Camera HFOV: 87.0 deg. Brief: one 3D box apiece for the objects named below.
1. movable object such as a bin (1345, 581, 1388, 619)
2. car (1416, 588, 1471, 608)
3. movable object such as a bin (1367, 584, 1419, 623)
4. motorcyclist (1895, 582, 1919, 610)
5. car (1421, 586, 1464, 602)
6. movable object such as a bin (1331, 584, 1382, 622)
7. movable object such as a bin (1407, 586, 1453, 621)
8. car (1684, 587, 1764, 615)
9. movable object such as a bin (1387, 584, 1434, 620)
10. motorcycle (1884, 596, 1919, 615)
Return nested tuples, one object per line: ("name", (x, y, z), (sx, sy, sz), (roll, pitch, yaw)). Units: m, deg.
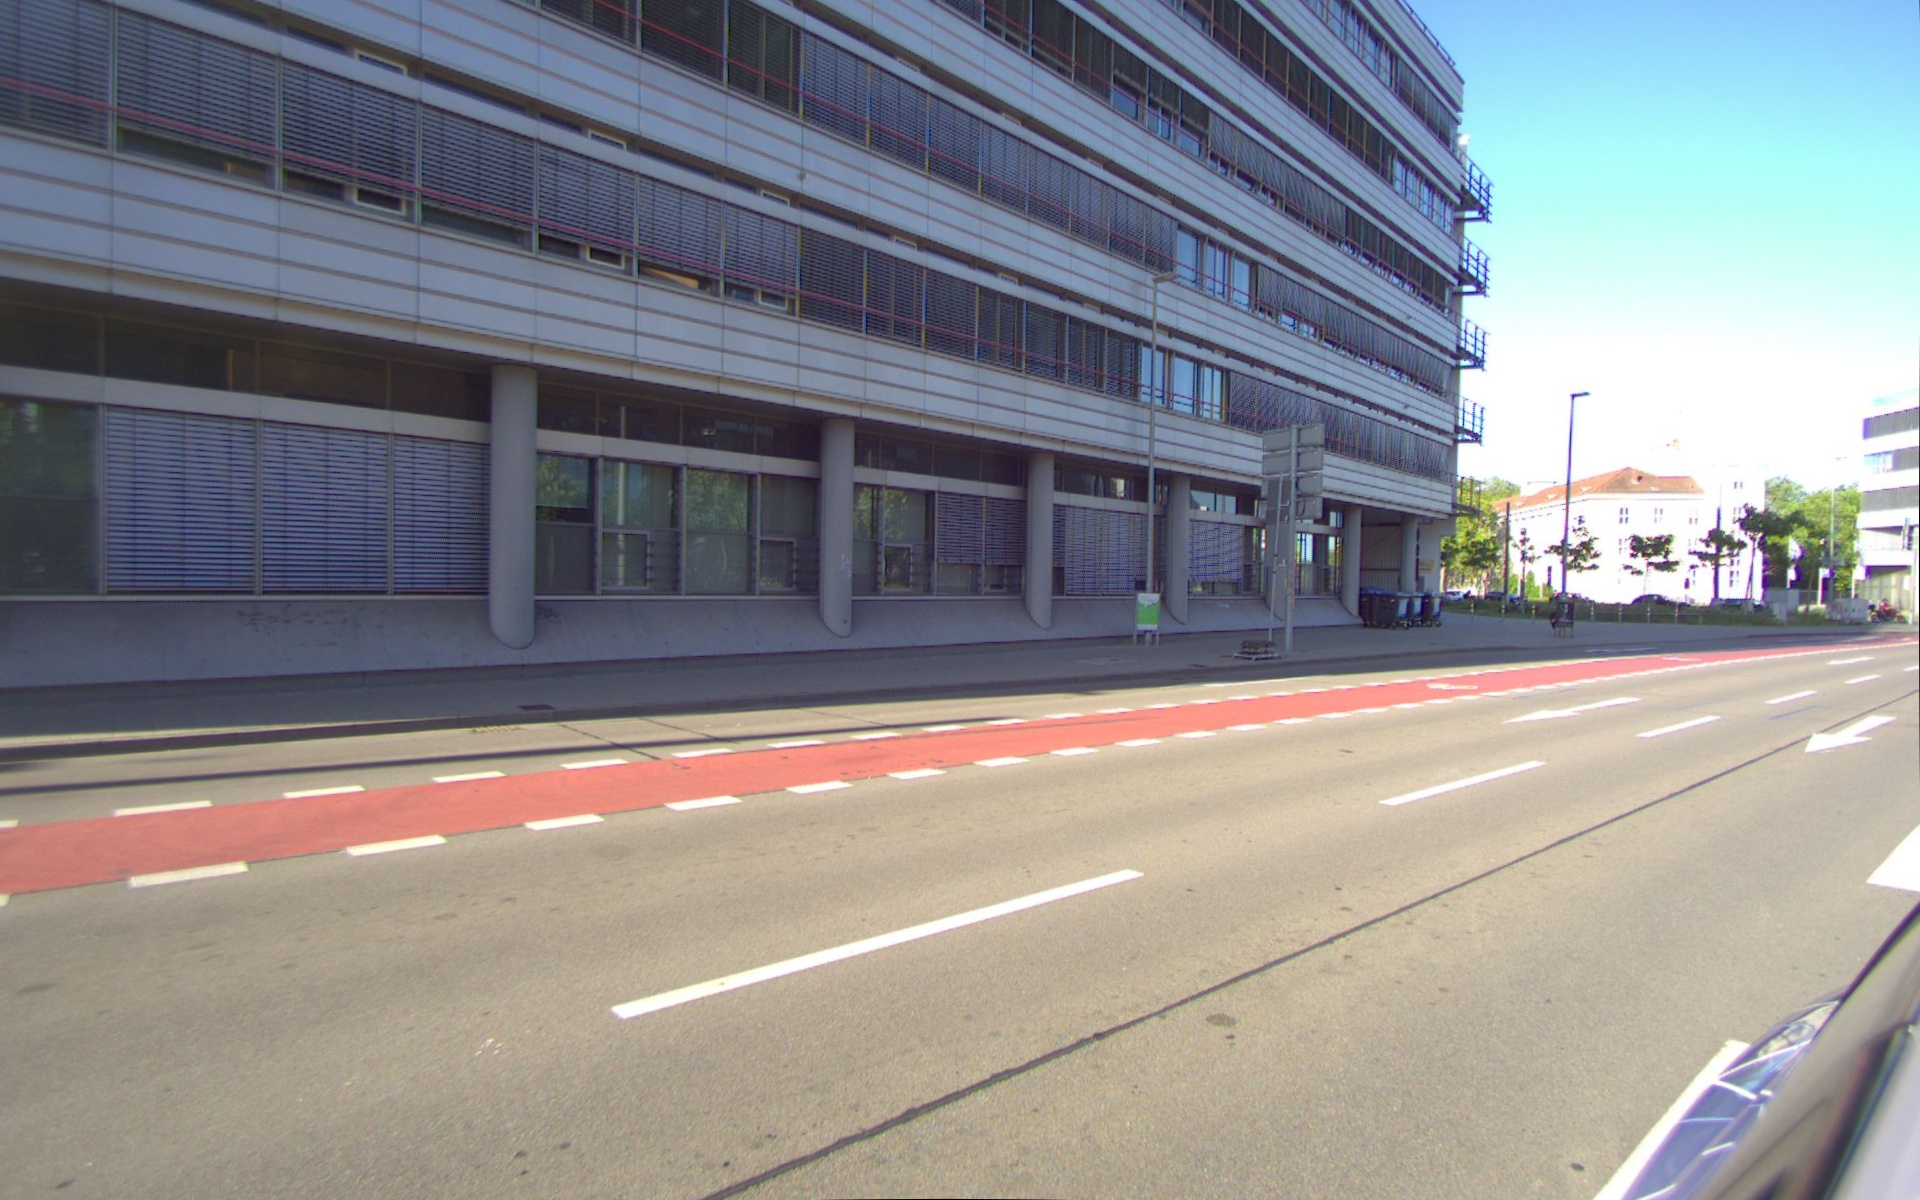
("movable object such as a bin", (15.505, -0.007, 38.615), (1.088, 1.391, 1.109), (0, 1, -40))
("car", (39.964, -0.152, 83.763), (1.705, 1.551, 3.807), (0, 2, -28))
("movable object such as a bin", (15.346, 0.112, 35.883), (1.153, 1.317, 1.327), (0, 2, -40))
("motorcyclist", (66.645, -0.289, 71.212), (0.807, 1.880, 1.111), (0, 2, -39))
("car", (49.287, -0.596, 103.300), (3.773, 1.551, 1.720), (2, 2, 32))
("movable object such as a bin", (14.459, 0.104, 36.918), (1.153, 1.317, 1.327), (0, 2, -40))
("movable object such as a bin", (18.233, 0.136, 39.294), (1.305, 1.317, 1.173), (0, 2, -40))
("car", (45.851, 0.044, 60.832), (1.706, 1.551, 3.806), (1, 1, -4))
("movable object such as a bin", (17.145, 0.072, 38.537), (1.305, 1.317, 1.173), (0, 2, -40))
("motorcycle", (66.658, 0.386, 71.203), (0.807, 1.236, 2.254), (0, 3, -39))
